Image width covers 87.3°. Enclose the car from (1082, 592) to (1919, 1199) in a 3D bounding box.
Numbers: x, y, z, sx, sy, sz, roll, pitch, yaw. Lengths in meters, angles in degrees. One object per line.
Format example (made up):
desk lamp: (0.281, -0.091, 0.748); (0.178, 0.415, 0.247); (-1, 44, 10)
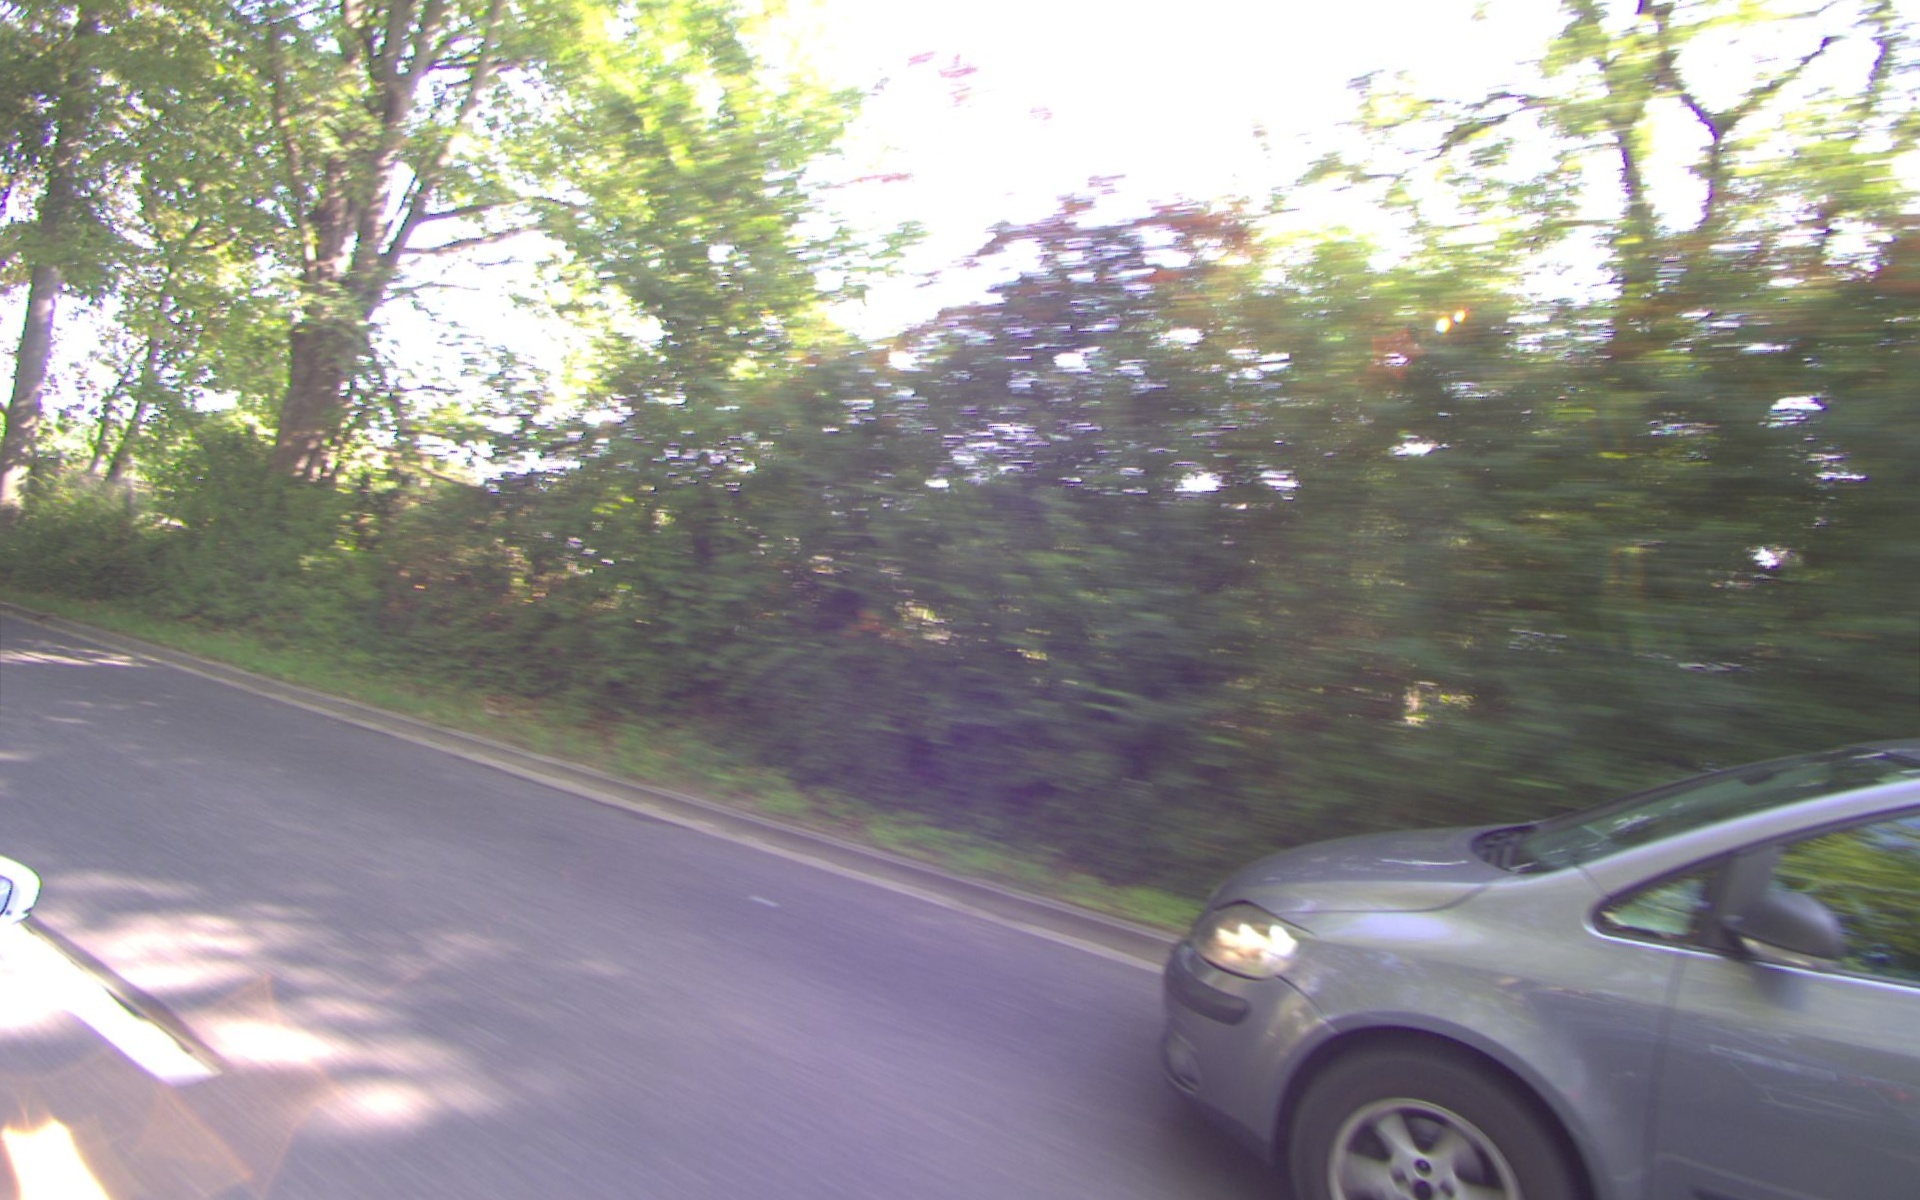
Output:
car: (2.473, 1.030, 2.482); (3.834, 1.574, 1.649); (6, -3, 31)
